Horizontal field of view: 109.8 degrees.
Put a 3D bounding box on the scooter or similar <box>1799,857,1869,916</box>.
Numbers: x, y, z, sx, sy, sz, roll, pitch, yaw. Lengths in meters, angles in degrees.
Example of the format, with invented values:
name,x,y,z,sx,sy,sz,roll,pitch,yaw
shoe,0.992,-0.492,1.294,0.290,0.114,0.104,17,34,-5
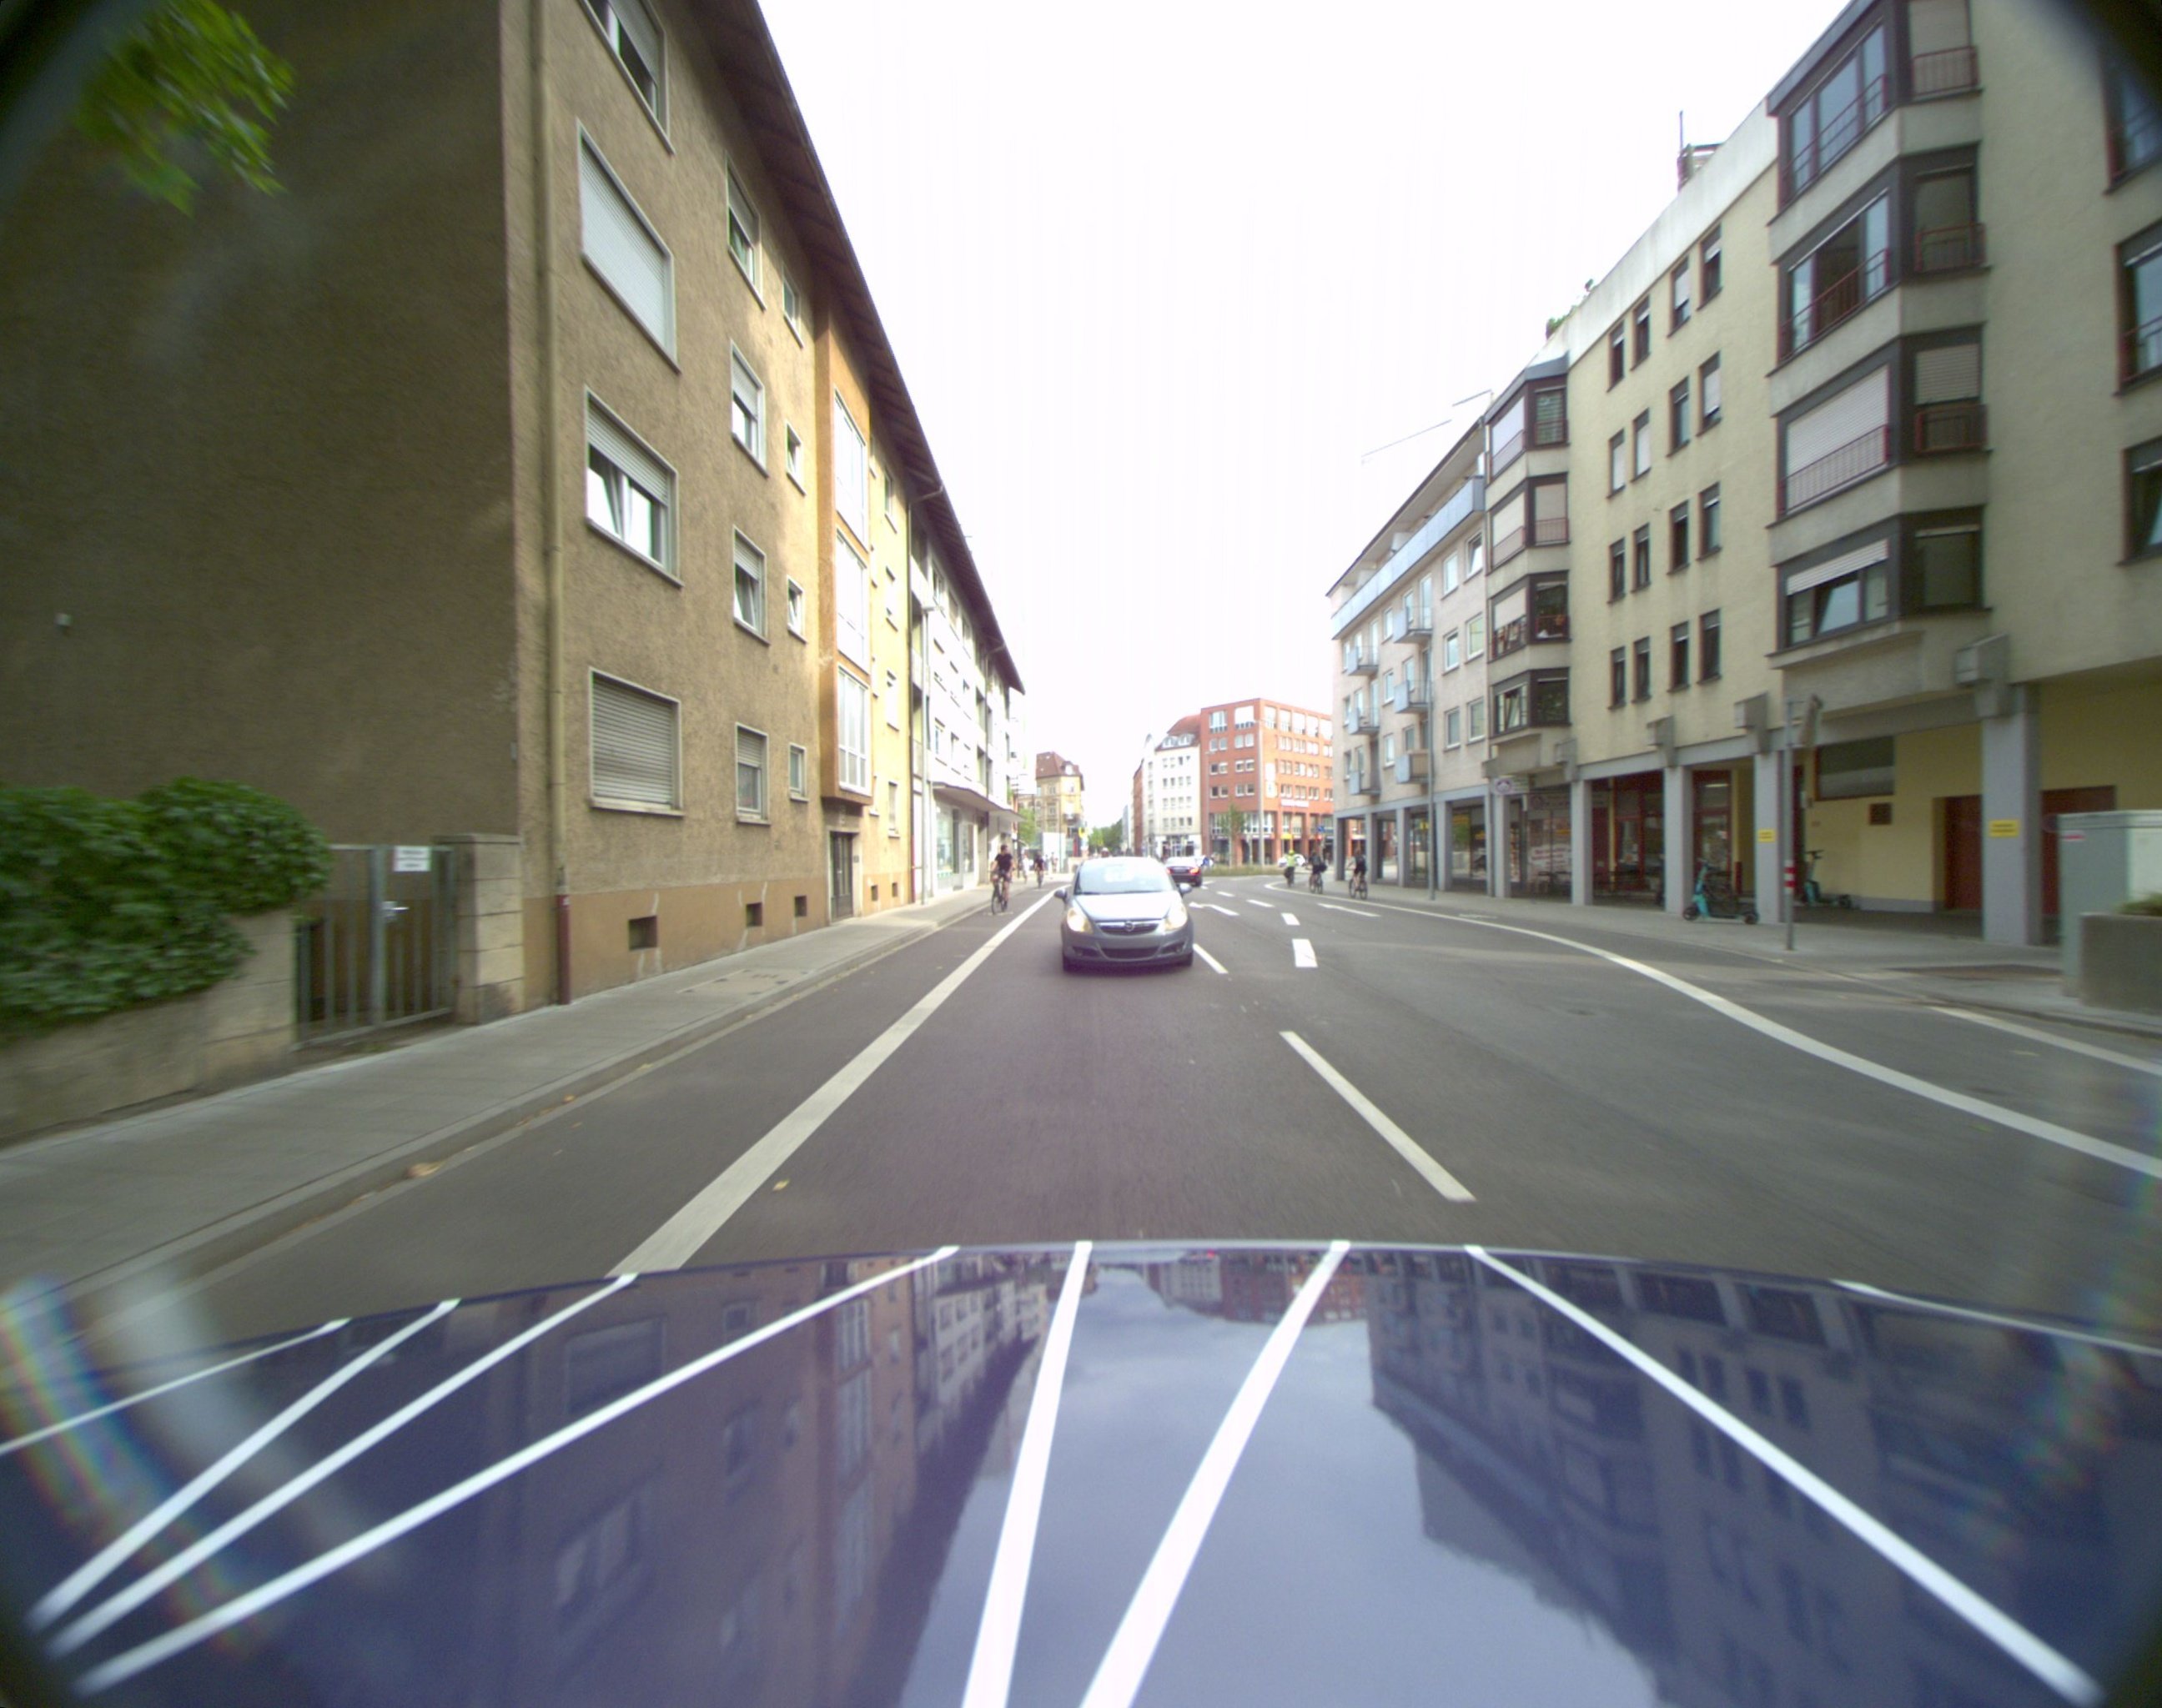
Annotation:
name,x,y,z,sx,sy,sz,roll,pitch,yaw
scooter or similar,15.974,0.676,16.143,0.287,1.195,1.176,-1,0,-2

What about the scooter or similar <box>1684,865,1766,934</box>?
name,x,y,z,sx,sy,sz,roll,pitch,yaw
scooter or similar,12.411,0.854,14.672,0.287,1.257,1.173,-1,1,-36

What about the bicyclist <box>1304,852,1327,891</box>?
name,x,y,z,sx,sy,sz,roll,pitch,yaw
bicyclist,9.409,0.693,30.460,0.658,1.516,0.857,-3,-1,5

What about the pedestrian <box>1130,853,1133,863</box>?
name,x,y,z,sx,sy,sz,roll,pitch,yaw
pedestrian,8.881,0.735,133.174,0.540,1.713,0.520,0,1,9

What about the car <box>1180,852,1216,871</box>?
name,x,y,z,sx,sy,sz,roll,pitch,yaw
car,10.308,0.629,66.750,1.953,1.592,4.007,-1,0,28

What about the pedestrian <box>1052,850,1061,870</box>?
name,x,y,z,sx,sy,sz,roll,pitch,yaw
pedestrian,-2.276,0.567,70.646,0.657,1.842,0.971,2,1,4

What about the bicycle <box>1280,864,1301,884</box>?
name,x,y,z,sx,sy,sz,roll,pitch,yaw
bicycle,11.418,1.087,41.479,0.739,1.001,1.909,-1,1,6

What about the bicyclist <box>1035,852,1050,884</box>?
name,x,y,z,sx,sy,sz,roll,pitch,yaw
bicyclist,-1.946,0.699,38.220,0.613,1.594,0.847,-2,-1,1

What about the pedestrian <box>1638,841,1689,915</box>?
name,x,y,z,sx,sy,sz,roll,pitch,yaw
pedestrian,14.160,0.566,18.483,0.582,1.747,0.784,-3,1,1

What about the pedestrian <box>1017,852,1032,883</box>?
name,x,y,z,sx,sy,sz,roll,pitch,yaw
pedestrian,-3.218,0.746,43.662,0.753,1.740,0.859,-1,0,0

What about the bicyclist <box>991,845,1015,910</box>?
name,x,y,z,sx,sy,sz,roll,pitch,yaw
bicyclist,-2.092,0.625,20.497,0.560,1.699,0.862,-1,0,-1

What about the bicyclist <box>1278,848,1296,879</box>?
name,x,y,z,sx,sy,sz,roll,pitch,yaw
bicyclist,10.185,0.465,37.557,0.658,1.516,0.841,-3,-1,5

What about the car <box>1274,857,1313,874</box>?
name,x,y,z,sx,sy,sz,roll,pitch,yaw
car,24.422,1.279,87.251,4.006,1.867,1.995,-2,0,-30

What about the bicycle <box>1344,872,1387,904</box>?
name,x,y,z,sx,sy,sz,roll,pitch,yaw
bicycle,9.672,1.128,25.907,0.739,1.001,2.196,-3,-1,4

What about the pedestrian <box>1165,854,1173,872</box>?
name,x,y,z,sx,sy,sz,roll,pitch,yaw
pedestrian,9.765,0.982,84.102,0.720,1.960,1.015,2,0,9

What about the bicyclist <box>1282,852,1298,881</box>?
name,x,y,z,sx,sy,sz,roll,pitch,yaw
bicyclist,11.357,0.658,41.299,0.658,1.516,1.002,-3,1,5

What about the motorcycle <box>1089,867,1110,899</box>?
name,x,y,z,sx,sy,sz,roll,pitch,yaw
motorcycle,0.601,0.908,24.394,0.570,0.962,2.015,-1,0,4

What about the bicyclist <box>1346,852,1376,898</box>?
name,x,y,z,sx,sy,sz,roll,pitch,yaw
bicyclist,9.549,0.714,25.938,0.658,1.516,1.077,-3,-1,5

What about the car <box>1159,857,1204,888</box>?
name,x,y,z,sx,sy,sz,roll,pitch,yaw
car,4.875,0.895,37.253,1.814,1.399,4.611,-1,-1,3

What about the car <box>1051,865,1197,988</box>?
name,x,y,z,sx,sy,sz,roll,pitch,yaw
car,0.631,0.882,10.984,1.723,1.394,4.001,0,0,3

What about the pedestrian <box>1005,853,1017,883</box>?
name,x,y,z,sx,sy,sz,roll,pitch,yaw
pedestrian,-4.026,0.804,43.733,0.606,1.659,0.944,-1,0,0

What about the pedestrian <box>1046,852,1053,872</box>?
name,x,y,z,sx,sy,sz,roll,pitch,yaw
pedestrian,-2.655,0.647,64.228,0.473,1.663,0.590,2,1,2

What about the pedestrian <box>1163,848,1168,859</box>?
name,x,y,z,sx,sy,sz,roll,pitch,yaw
pedestrian,12.107,-0.084,108.604,0.593,1.502,0.629,-1,0,-7

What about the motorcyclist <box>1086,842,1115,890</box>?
name,x,y,z,sx,sy,sz,roll,pitch,yaw
motorcyclist,0.630,0.375,24.567,0.871,1.508,1.044,-1,0,3

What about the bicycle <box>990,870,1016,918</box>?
name,x,y,z,sx,sy,sz,roll,pitch,yaw
bicycle,-2.085,1.045,20.429,0.407,1.115,2.017,-2,1,1

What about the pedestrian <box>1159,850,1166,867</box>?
name,x,y,z,sx,sy,sz,roll,pitch,yaw
pedestrian,9.005,0.484,84.258,0.675,1.789,0.887,2,0,7

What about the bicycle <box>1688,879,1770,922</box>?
name,x,y,z,sx,sy,sz,roll,pitch,yaw
bicycle,13.848,0.975,16.291,0.430,0.816,1.619,-1,0,2

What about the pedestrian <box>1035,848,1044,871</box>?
name,x,y,z,sx,sy,sz,roll,pitch,yaw
pedestrian,-3.543,0.447,64.370,0.673,1.892,0.590,2,1,2

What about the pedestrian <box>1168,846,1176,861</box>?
name,x,y,z,sx,sy,sz,roll,pitch,yaw
pedestrian,10.671,-0.029,89.134,0.697,1.813,0.567,0,0,-45

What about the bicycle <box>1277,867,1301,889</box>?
name,x,y,z,sx,sy,sz,roll,pitch,yaw
bicycle,10.227,1.158,37.378,0.739,1.001,2.253,-3,-1,6

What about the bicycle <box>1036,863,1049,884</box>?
name,x,y,z,sx,sy,sz,roll,pitch,yaw
bicycle,-1.935,0.963,38.162,0.489,0.994,1.748,-2,0,0

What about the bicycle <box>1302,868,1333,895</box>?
name,x,y,z,sx,sy,sz,roll,pitch,yaw
bicycle,9.449,1.095,30.454,0.739,1.001,1.977,-3,-1,4
